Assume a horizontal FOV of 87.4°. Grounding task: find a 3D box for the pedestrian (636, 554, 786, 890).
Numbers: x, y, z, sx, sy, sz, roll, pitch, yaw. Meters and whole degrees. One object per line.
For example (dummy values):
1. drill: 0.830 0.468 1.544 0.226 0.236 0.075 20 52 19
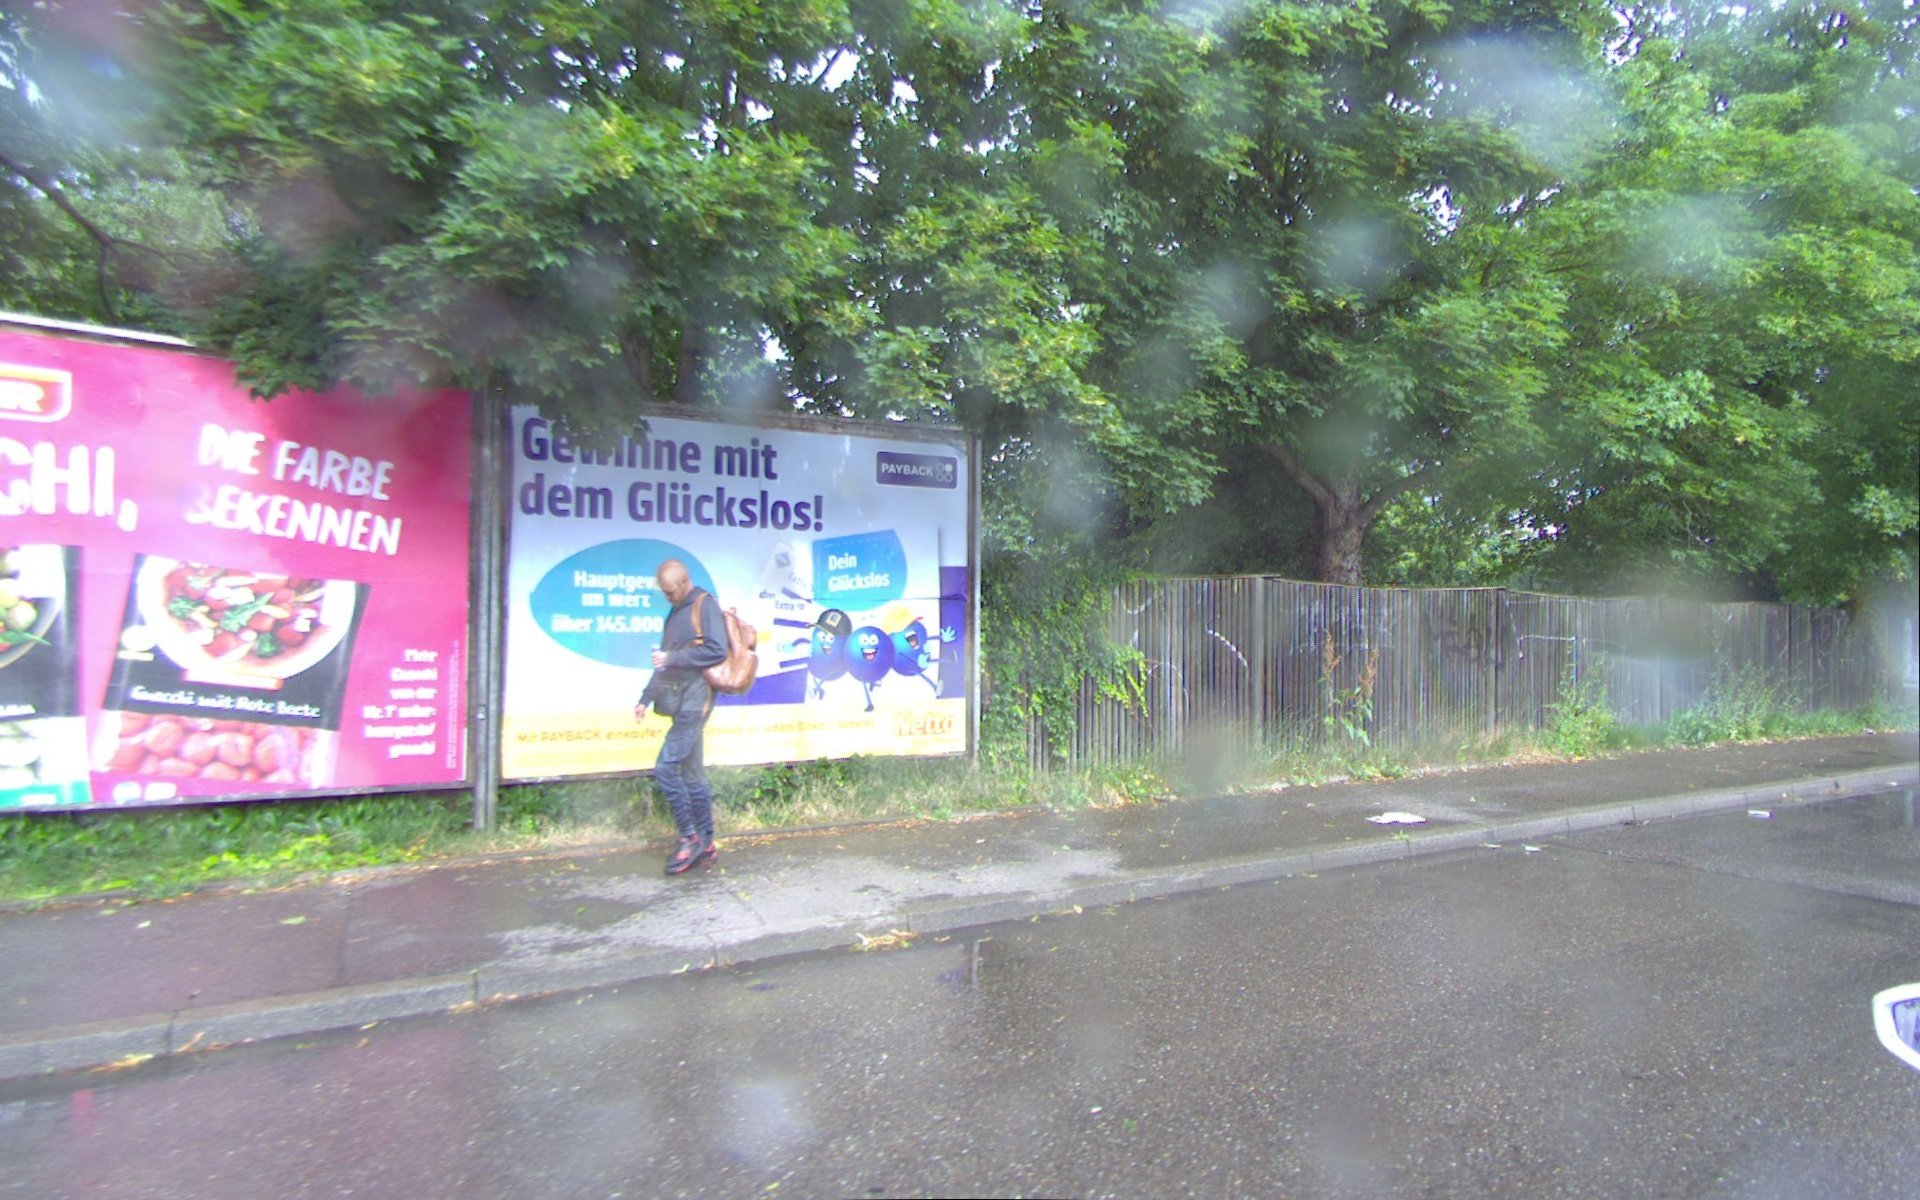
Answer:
1. pedestrian: -1.478 0.670 5.909 0.637 1.792 0.835 1 -2 -30
